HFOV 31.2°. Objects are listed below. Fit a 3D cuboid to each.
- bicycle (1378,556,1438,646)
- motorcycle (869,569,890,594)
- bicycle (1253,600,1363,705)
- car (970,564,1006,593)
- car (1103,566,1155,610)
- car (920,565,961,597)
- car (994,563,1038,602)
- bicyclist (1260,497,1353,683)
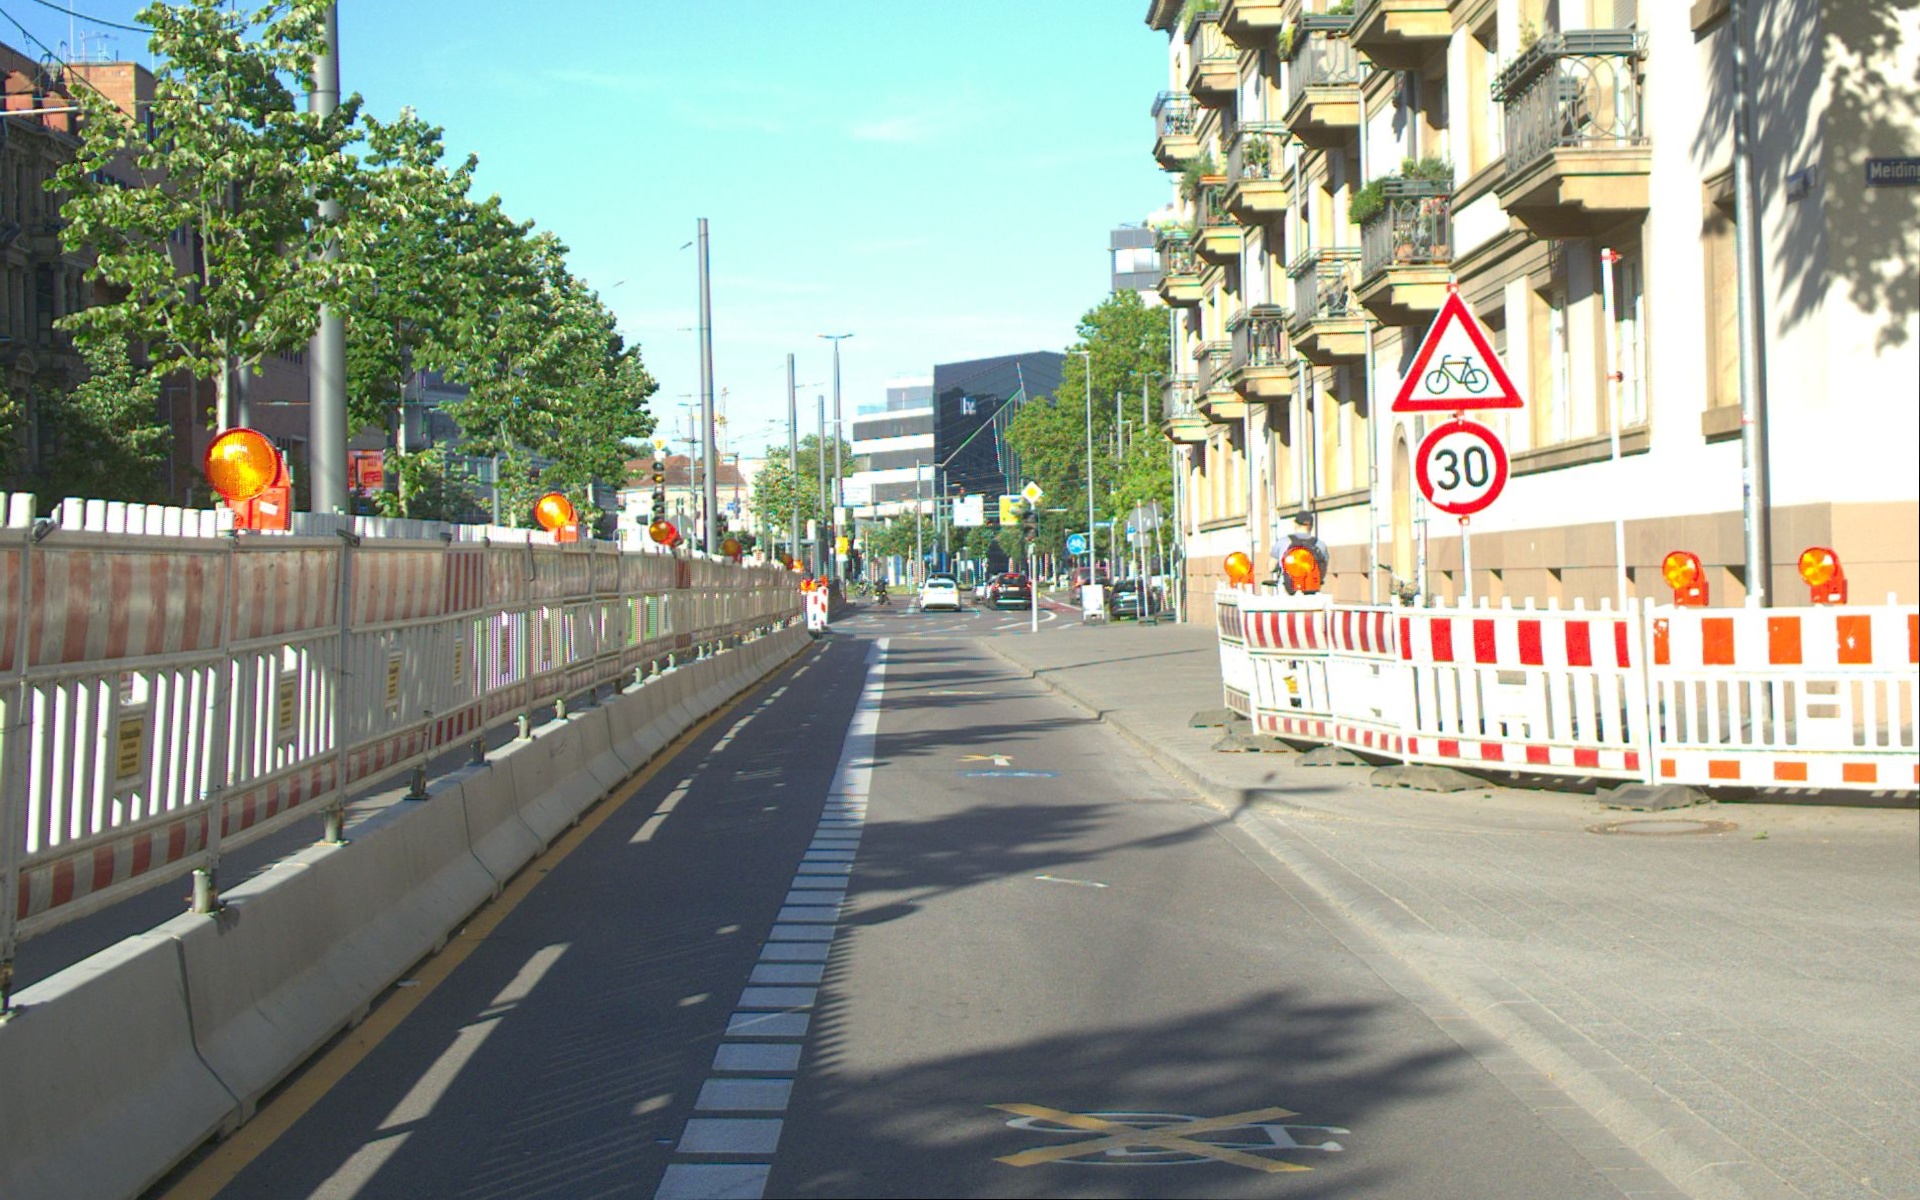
[{"bbox_3d":[5.626,-0.001,43.215,0.418,1.092,2.198,-1,0,-1],"label":"bicycle"},{"bbox_3d":[-4.263,-0.998,181.696,1.019,1.307,2.914,1,1,0],"label":"motorcycle"},{"bbox_3d":[3.338,0.490,33.137,0.767,0.950,2.198,-1,0,-1],"label":"bicycle"},{"bbox_3d":[1.496,-1.175,186.248,1.851,1.492,4.379,-1,1,-1],"label":"car"},{"bbox_3d":[6.537,-0.465,132.593,1.721,1.631,4.230,-2,0,6],"label":"car"},{"bbox_3d":[-0.890,-0.869,155.722,1.780,1.409,4.819,1,1,-1],"label":"car"},{"bbox_3d":[2.624,-0.836,161.736,1.975,1.753,4.632,1,1,0],"label":"car"},{"bbox_3d":[3.334,-0.100,33.139,0.733,1.757,0.938,-1,0,-1],"label":"bicyclist"}]
